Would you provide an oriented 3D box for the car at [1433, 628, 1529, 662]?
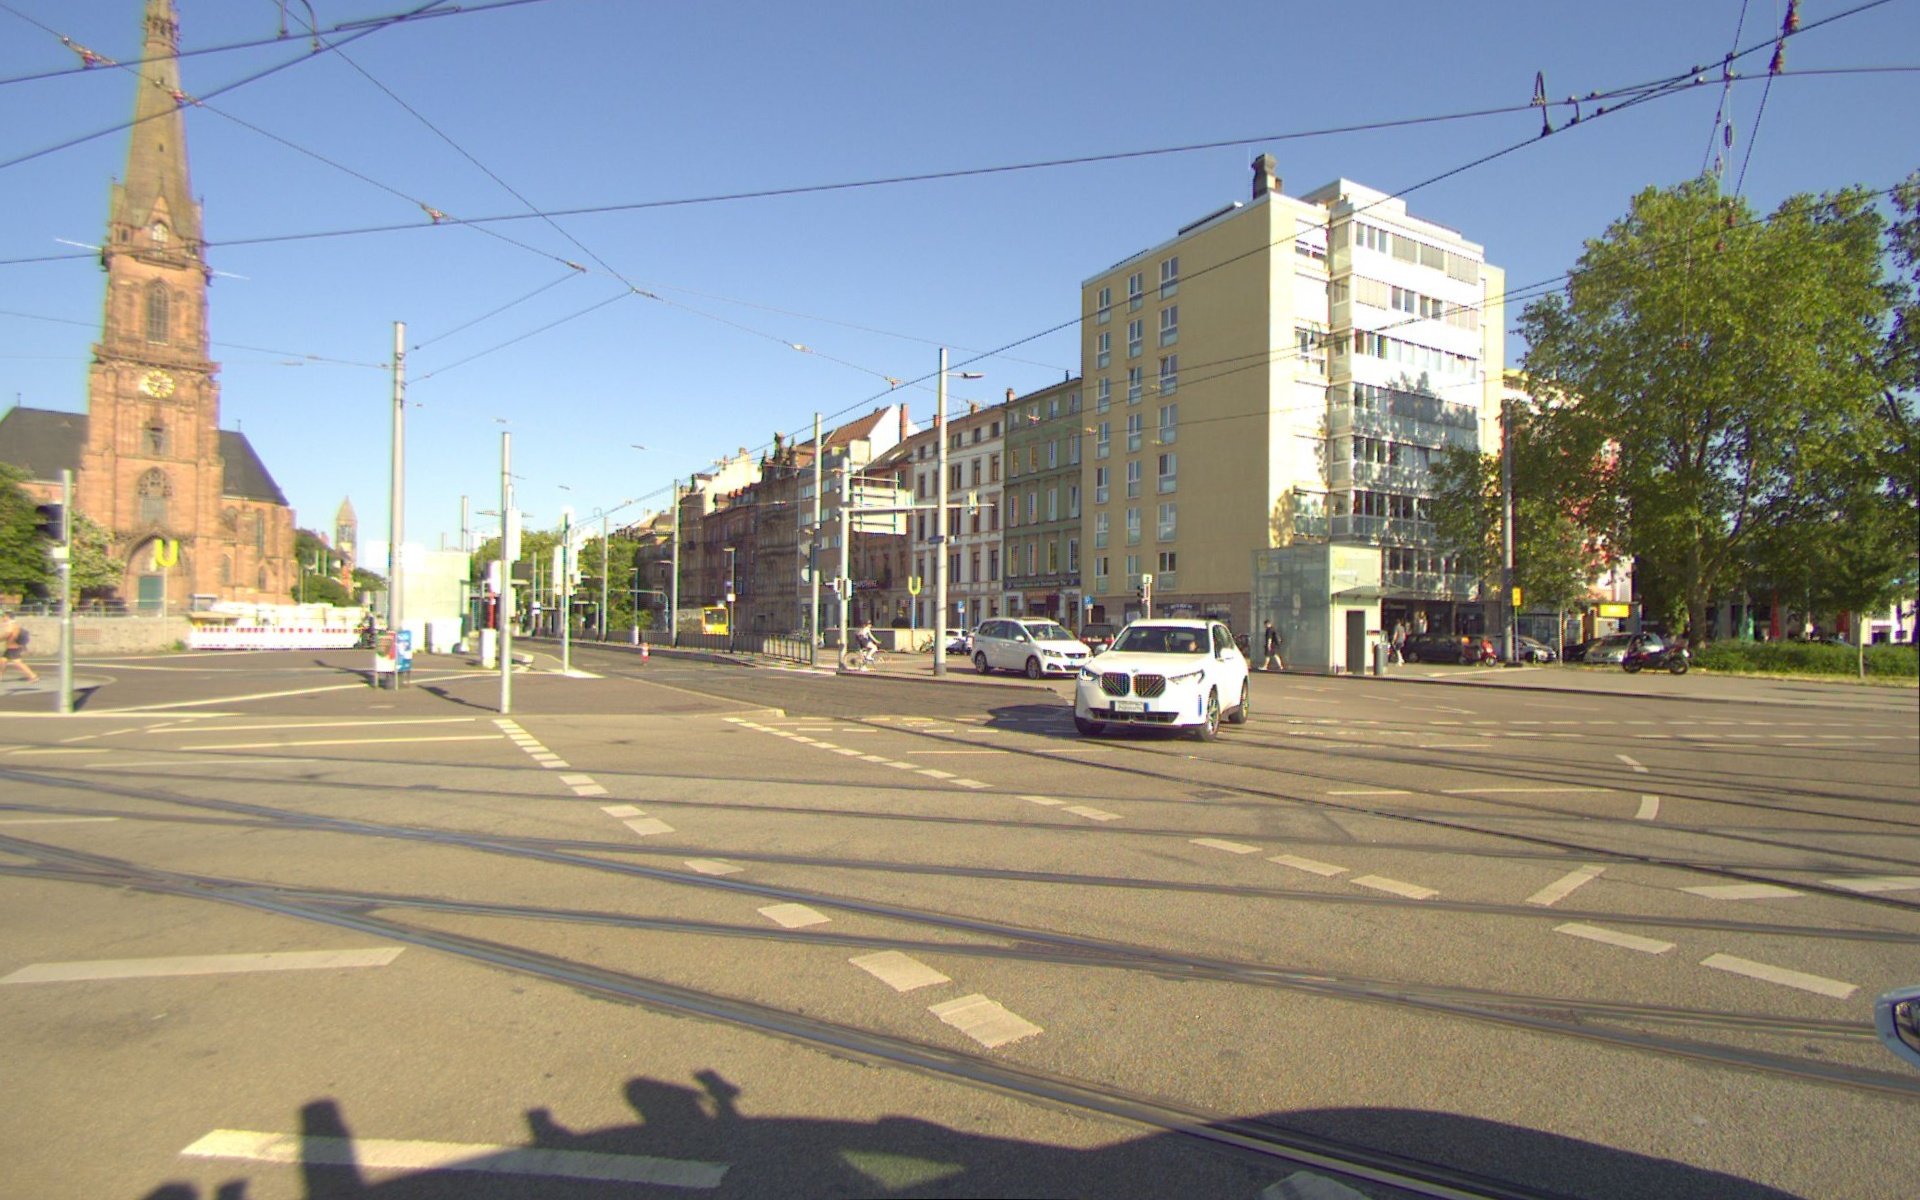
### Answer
[{"bbox_3d":[26.348,2.231,50.910,1.834,1.439,3.968,0,2,-29],"label":"car"}]

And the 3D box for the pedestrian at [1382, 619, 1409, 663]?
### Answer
[{"bbox_3d":[17.632,1.666,40.701,0.739,1.750,0.697,1,-1,-9],"label":"pedestrian"}]

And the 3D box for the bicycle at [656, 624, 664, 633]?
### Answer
[{"bbox_3d":[-43.234,4.096,144.702,0.486,1.255,1.868,0,-2,-39],"label":"bicycle"}]

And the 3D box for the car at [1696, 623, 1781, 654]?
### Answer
[{"bbox_3d":[51.343,2.520,66.316,1.834,1.804,3.968,0,2,-29],"label":"car"}]

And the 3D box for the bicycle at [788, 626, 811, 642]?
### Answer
[{"bbox_3d":[-12.954,2.728,80.954,1.750,1.203,0.466,2,-1,-31],"label":"bicycle"}]

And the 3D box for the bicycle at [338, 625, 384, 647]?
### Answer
[{"bbox_3d":[-28.250,1.719,47.434,0.799,0.954,2.003,6,-2,3],"label":"bicycle"}]

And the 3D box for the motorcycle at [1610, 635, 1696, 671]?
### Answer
[{"bbox_3d":[23.311,1.764,33.833,1.034,1.088,2.251,0,0,-45],"label":"motorcycle"}]

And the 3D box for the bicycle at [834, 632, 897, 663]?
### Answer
[{"bbox_3d":[-3.044,1.516,32.431,1.876,0.954,0.807,0,-1,-36],"label":"bicycle"}]

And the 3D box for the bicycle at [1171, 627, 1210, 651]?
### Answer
[{"bbox_3d":[12.404,2.099,54.093,0.652,1.265,2.279,0,-1,-32],"label":"bicycle"}]

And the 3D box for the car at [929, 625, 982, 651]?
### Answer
[{"bbox_3d":[-0.209,2.210,58.769,1.923,1.483,4.114,0,-2,18],"label":"car"}]

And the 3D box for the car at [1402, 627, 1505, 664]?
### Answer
[{"bbox_3d":[24.163,2.203,49.319,1.836,1.503,4.188,0,2,-33],"label":"car"}]

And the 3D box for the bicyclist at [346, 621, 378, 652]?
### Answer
[{"bbox_3d":[-28.247,1.719,47.438,0.799,1.362,0.902,5,-2,3],"label":"bicyclist"}]

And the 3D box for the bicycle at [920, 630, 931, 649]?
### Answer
[{"bbox_3d":[-2.116,2.440,61.554,0.411,1.125,1.096,2,-2,11],"label":"bicycle"}]

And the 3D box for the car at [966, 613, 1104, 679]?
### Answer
[{"bbox_3d":[2.124,1.278,29.680,1.919,1.757,4.428,-1,0,-30],"label":"car"}]

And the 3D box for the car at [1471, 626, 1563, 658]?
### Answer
[{"bbox_3d":[30.159,2.223,54.491,1.834,1.439,3.968,0,2,-29],"label":"car"}]

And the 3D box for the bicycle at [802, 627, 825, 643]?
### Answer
[{"bbox_3d":[-11.452,2.718,78.480,1.750,1.194,0.466,2,-1,-31],"label":"bicycle"}]

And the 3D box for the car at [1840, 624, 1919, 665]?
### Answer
[{"bbox_3d":[52.621,2.504,56.728,1.836,2.026,3.965,0,2,-32],"label":"car"}]

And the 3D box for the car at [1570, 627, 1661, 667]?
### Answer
[{"bbox_3d":[30.059,2.146,46.070,3.953,1.720,1.907,0,-3,-31],"label":"car"}]

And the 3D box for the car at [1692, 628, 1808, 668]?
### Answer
[{"bbox_3d":[34.713,2.068,44.212,3.939,1.530,1.792,1,1,39],"label":"car"}]

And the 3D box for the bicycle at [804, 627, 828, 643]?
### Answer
[{"bbox_3d":[-11.207,2.732,78.046,1.750,1.194,0.466,2,-1,-31],"label":"bicycle"}]

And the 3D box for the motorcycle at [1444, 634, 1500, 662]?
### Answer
[{"bbox_3d":[20.252,1.902,39.769,0.871,1.060,1.788,0,-2,-32],"label":"motorcycle"}]

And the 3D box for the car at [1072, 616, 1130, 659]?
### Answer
[{"bbox_3d":[6.666,1.764,47.025,1.921,1.838,4.253,1,-2,18],"label":"car"}]

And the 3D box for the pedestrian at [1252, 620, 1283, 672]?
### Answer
[{"bbox_3d":[10.555,1.552,34.481,0.854,1.750,0.794,0,-1,28],"label":"pedestrian"}]

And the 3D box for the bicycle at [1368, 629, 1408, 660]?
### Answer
[{"bbox_3d":[20.067,2.071,47.083,1.979,1.363,0.807,0,-1,-36],"label":"bicycle"}]

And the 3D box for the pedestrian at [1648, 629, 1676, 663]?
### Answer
[{"bbox_3d":[37.738,2.486,54.030,0.892,1.761,0.881,0,2,-28],"label":"pedestrian"}]

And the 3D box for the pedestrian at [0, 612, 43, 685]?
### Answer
[{"bbox_3d":[-22.957,1.169,24.326,0.718,1.709,1.050,3,2,43],"label":"pedestrian"}]

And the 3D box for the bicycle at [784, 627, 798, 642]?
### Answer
[{"bbox_3d":[-13.388,2.707,79.580,0.464,1.162,1.756,2,-1,-30],"label":"bicycle"}]

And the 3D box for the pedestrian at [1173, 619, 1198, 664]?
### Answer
[{"bbox_3d":[9.065,1.657,40.342,0.743,1.750,0.694,0,-1,43],"label":"pedestrian"}]

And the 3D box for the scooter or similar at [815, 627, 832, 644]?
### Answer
[{"bbox_3d":[-10.530,2.736,77.561,0.631,1.231,1.206,-1,-3,33],"label":"scooter or similar"}]

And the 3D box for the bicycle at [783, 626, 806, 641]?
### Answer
[{"bbox_3d":[-13.475,2.747,81.823,1.750,1.203,0.466,2,-1,-31],"label":"bicycle"}]

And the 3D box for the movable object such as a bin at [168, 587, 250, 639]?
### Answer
[{"bbox_3d":[-40.343,0.625,53.899,5.095,2.560,2.621,2,2,42],"label":"movable object such as a bin"}]

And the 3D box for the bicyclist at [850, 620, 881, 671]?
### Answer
[{"bbox_3d":[-3.058,1.457,32.427,0.669,1.638,0.807,0,-1,-35],"label":"bicyclist"}]

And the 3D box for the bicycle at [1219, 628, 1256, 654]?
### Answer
[{"bbox_3d":[14.057,2.069,50.935,0.652,1.265,1.883,0,-1,-33],"label":"bicycle"}]

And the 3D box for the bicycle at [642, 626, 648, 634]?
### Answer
[{"bbox_3d":[-48.963,4.630,156.295,0.513,1.062,1.805,0,2,-31],"label":"bicycle"}]

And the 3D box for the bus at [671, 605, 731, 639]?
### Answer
[{"bbox_3d":[-26.546,2.228,102.383,2.692,3.223,12.441,0,-1,-30],"label":"bus"}]

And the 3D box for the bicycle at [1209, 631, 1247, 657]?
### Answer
[{"bbox_3d":[13.420,2.182,50.386,0.652,1.265,1.883,0,-1,-33],"label":"bicycle"}]

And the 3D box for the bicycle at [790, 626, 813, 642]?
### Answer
[{"bbox_3d":[-12.692,2.745,80.530,1.750,1.203,0.466,2,-1,-31],"label":"bicycle"}]

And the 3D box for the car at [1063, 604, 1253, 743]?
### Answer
[{"bbox_3d":[3.172,1.013,15.280,1.904,1.769,4.620,-1,-2,23],"label":"car"}]

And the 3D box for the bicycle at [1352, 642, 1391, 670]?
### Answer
[{"bbox_3d":[19.607,2.658,47.858,1.979,1.216,0.807,0,-1,-36],"label":"bicycle"}]

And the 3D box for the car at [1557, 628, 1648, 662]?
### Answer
[{"bbox_3d":[36.831,2.536,57.687,1.834,1.657,3.968,0,2,-29],"label":"car"}]

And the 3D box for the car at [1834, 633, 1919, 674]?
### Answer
[{"bbox_3d":[48.819,2.785,52.810,1.836,1.894,3.965,0,2,-32],"label":"car"}]

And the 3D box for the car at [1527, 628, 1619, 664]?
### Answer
[{"bbox_3d":[34.104,2.522,55.952,1.834,1.657,3.968,0,2,-29],"label":"car"}]

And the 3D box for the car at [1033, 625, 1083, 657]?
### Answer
[{"bbox_3d":[4.866,2.033,49.447,1.753,1.417,3.896,1,-3,16],"label":"car"}]

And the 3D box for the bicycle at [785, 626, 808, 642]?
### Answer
[{"bbox_3d":[-13.212,2.757,81.396,1.777,1.203,0.466,2,-1,-31],"label":"bicycle"}]
